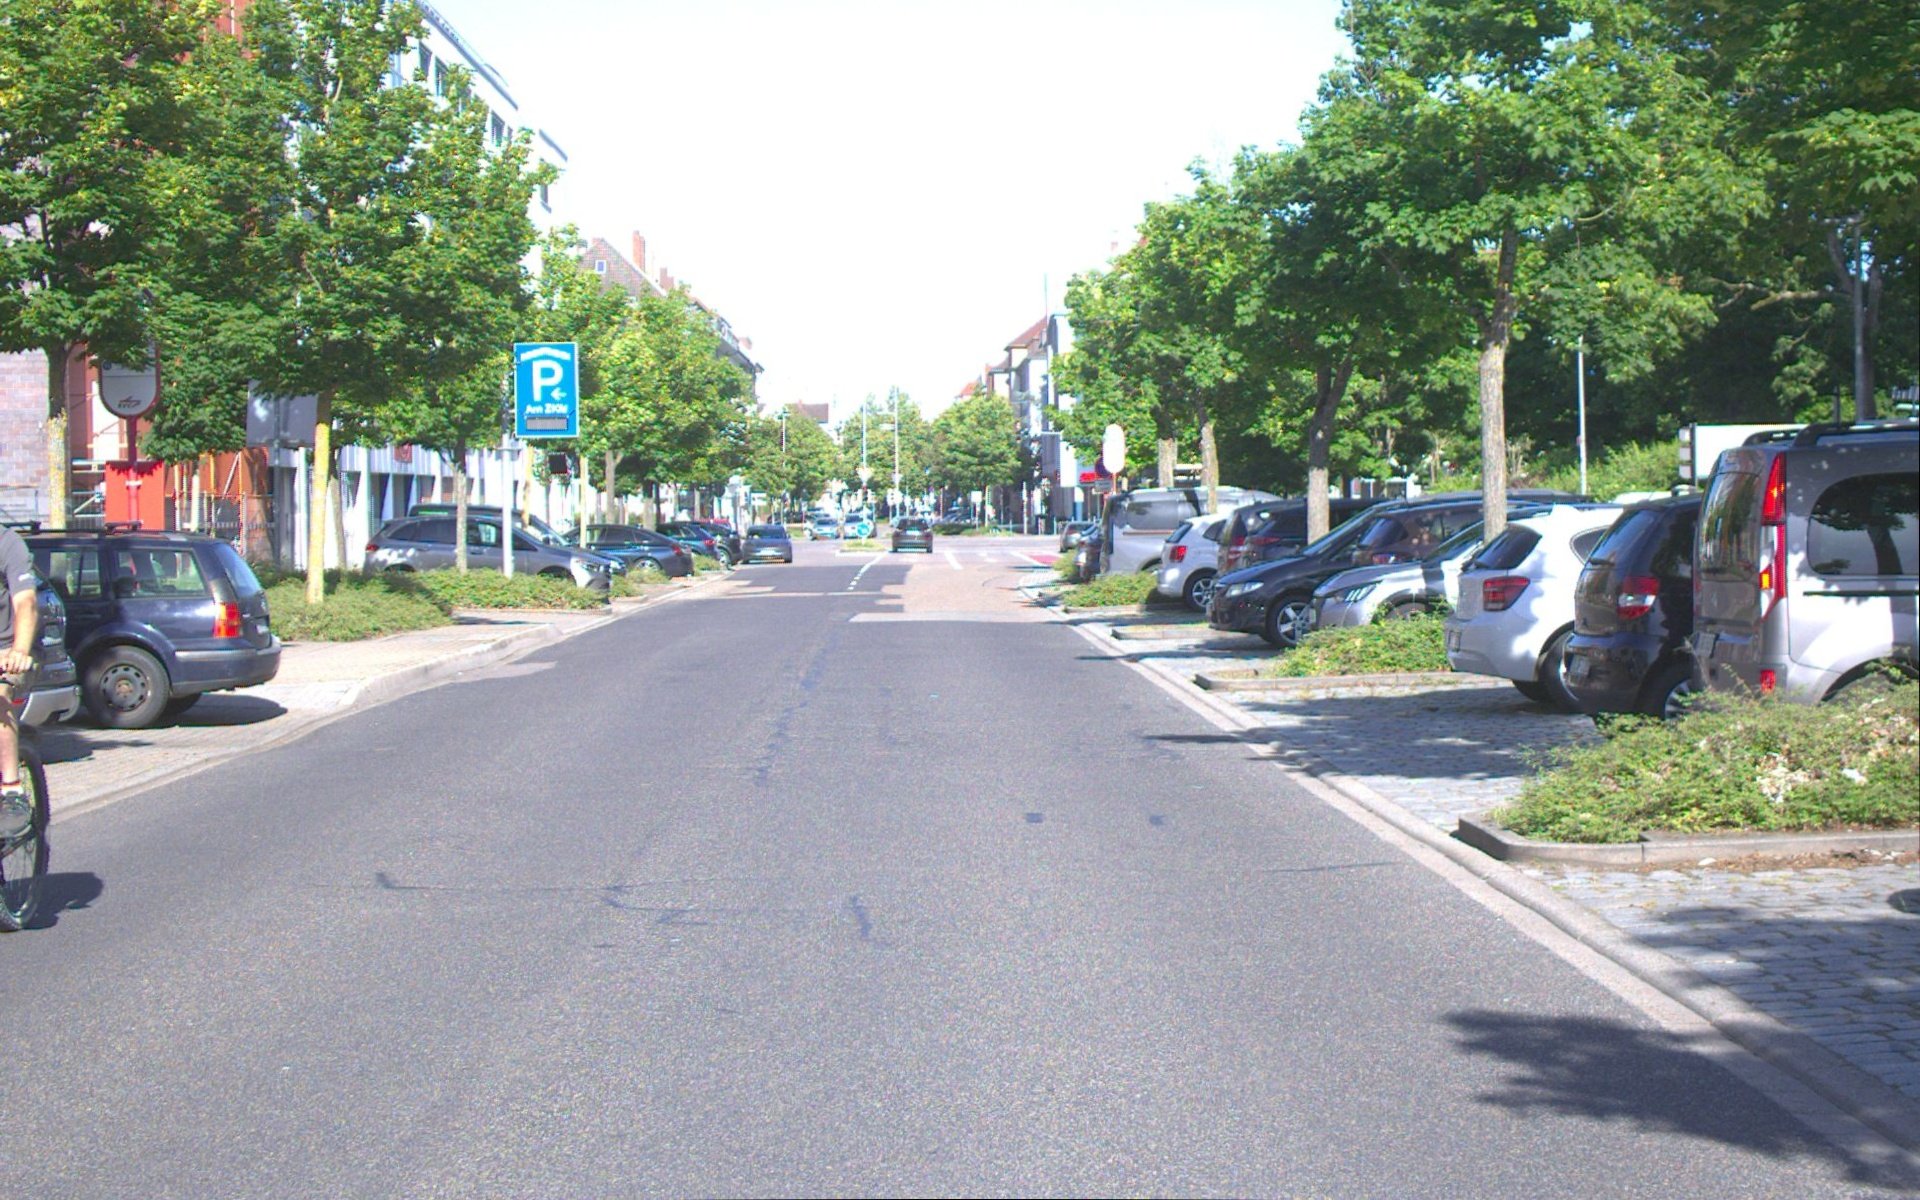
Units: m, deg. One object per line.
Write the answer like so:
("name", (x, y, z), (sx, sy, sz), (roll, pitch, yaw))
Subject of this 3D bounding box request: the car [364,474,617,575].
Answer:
("car", (-8.309, -1.349, 61.073), (4.261, 1.659, 1.599), (-1, 3, -1))

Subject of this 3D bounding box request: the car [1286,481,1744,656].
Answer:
("car", (5.079, -0.314, 31.797), (3.900, 1.481, 1.743), (-1, 2, -1))

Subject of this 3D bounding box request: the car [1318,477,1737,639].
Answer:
("car", (5.658, -0.439, 34.521), (3.861, 1.499, 1.652), (-1, 2, -3))

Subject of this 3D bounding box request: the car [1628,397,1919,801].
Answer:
("car", (5.707, -0.095, 17.592), (4.118, 1.921, 1.979), (-1, 3, -2))

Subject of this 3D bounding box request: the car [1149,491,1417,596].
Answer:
("car", (4.763, -0.845, 51.054), (3.765, 1.454, 1.818), (-1, 1, -1))

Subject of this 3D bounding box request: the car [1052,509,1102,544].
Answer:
("car", (5.412, -3.422, 159.538), (1.989, 1.469, 4.111), (-1, 3, -3))

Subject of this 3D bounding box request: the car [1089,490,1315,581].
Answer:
("car", (4.268, -1.150, 60.771), (3.913, 1.469, 1.795), (-1, 3, 4))

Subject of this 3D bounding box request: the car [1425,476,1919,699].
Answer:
("car", (5.515, -0.124, 24.774), (4.062, 1.421, 1.742), (-2, 1, 1))

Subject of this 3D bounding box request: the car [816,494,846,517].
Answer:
("car", (-8.644, -6.362, 230.921), (1.812, 1.469, 4.111), (-1, 3, 0))

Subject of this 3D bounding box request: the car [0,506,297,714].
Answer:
("car", (-7.341, 0.041, 26.595), (4.129, 1.487, 1.869), (1, 3, -4))

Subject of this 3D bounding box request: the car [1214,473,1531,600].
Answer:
("car", (5.505, -0.860, 46.249), (3.987, 1.576, 2.032), (-1, 1, 0))

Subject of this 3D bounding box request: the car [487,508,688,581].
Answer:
("car", (-8.198, -1.240, 75.961), (4.330, 1.469, 1.818), (-1, 3, -4))

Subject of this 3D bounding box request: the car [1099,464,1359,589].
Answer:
("car", (4.279, -1.196, 55.005), (3.987, 1.872, 1.683), (-1, 3, 0))

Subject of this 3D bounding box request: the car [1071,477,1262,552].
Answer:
("car", (4.312, -1.775, 71.931), (3.913, 1.469, 1.757), (-1, 0, 4))

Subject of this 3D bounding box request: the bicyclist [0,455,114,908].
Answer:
("bicyclist", (-3.617, 0.280, 12.514), (0.683, 1.575, 1.061), (-2, 2, 4))

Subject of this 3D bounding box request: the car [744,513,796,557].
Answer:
("car", (-7.103, -2.439, 128.644), (1.811, 1.469, 4.111), (-1, 3, -2))

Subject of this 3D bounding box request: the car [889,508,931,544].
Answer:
("car", (-2.250, -3.336, 155.268), (1.812, 1.469, 4.111), (-1, 3, 0))

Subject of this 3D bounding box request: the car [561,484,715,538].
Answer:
("car", (-9.421, -2.619, 100.772), (4.331, 1.469, 1.818), (-1, 3, -1))

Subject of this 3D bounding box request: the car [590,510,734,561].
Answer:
("car", (-9.329, -2.030, 107.813), (4.331, 1.469, 1.818), (-1, 3, -1))

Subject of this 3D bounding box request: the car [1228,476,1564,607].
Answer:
("car", (5.482, -0.744, 43.602), (3.987, 1.533, 1.862), (-1, 1, 0))

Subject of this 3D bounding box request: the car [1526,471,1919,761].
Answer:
("car", (5.306, 0.043, 20.217), (3.605, 1.544, 1.707), (-1, 3, -2))

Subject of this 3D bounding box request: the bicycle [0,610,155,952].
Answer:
("bicycle", (-3.601, 0.640, 12.473), (0.698, 1.107, 2.079), (-2, 2, 4))

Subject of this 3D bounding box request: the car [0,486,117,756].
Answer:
("car", (-7.658, 0.078, 22.107), (3.987, 1.658, 1.828), (1, 2, 2))

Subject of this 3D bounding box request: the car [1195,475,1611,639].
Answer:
("car", (4.698, -0.483, 36.823), (4.144, 1.574, 1.741), (-2, 2, -2))

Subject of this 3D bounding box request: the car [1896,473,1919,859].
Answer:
("car", (5.530, 0.224, 13.160), (3.362, 1.524, 1.601), (-2, 1, -9))

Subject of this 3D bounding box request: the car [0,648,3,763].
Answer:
("car", (-7.774, 0.283, 19.768), (3.987, 1.512, 1.855), (-1, 2, 0))
